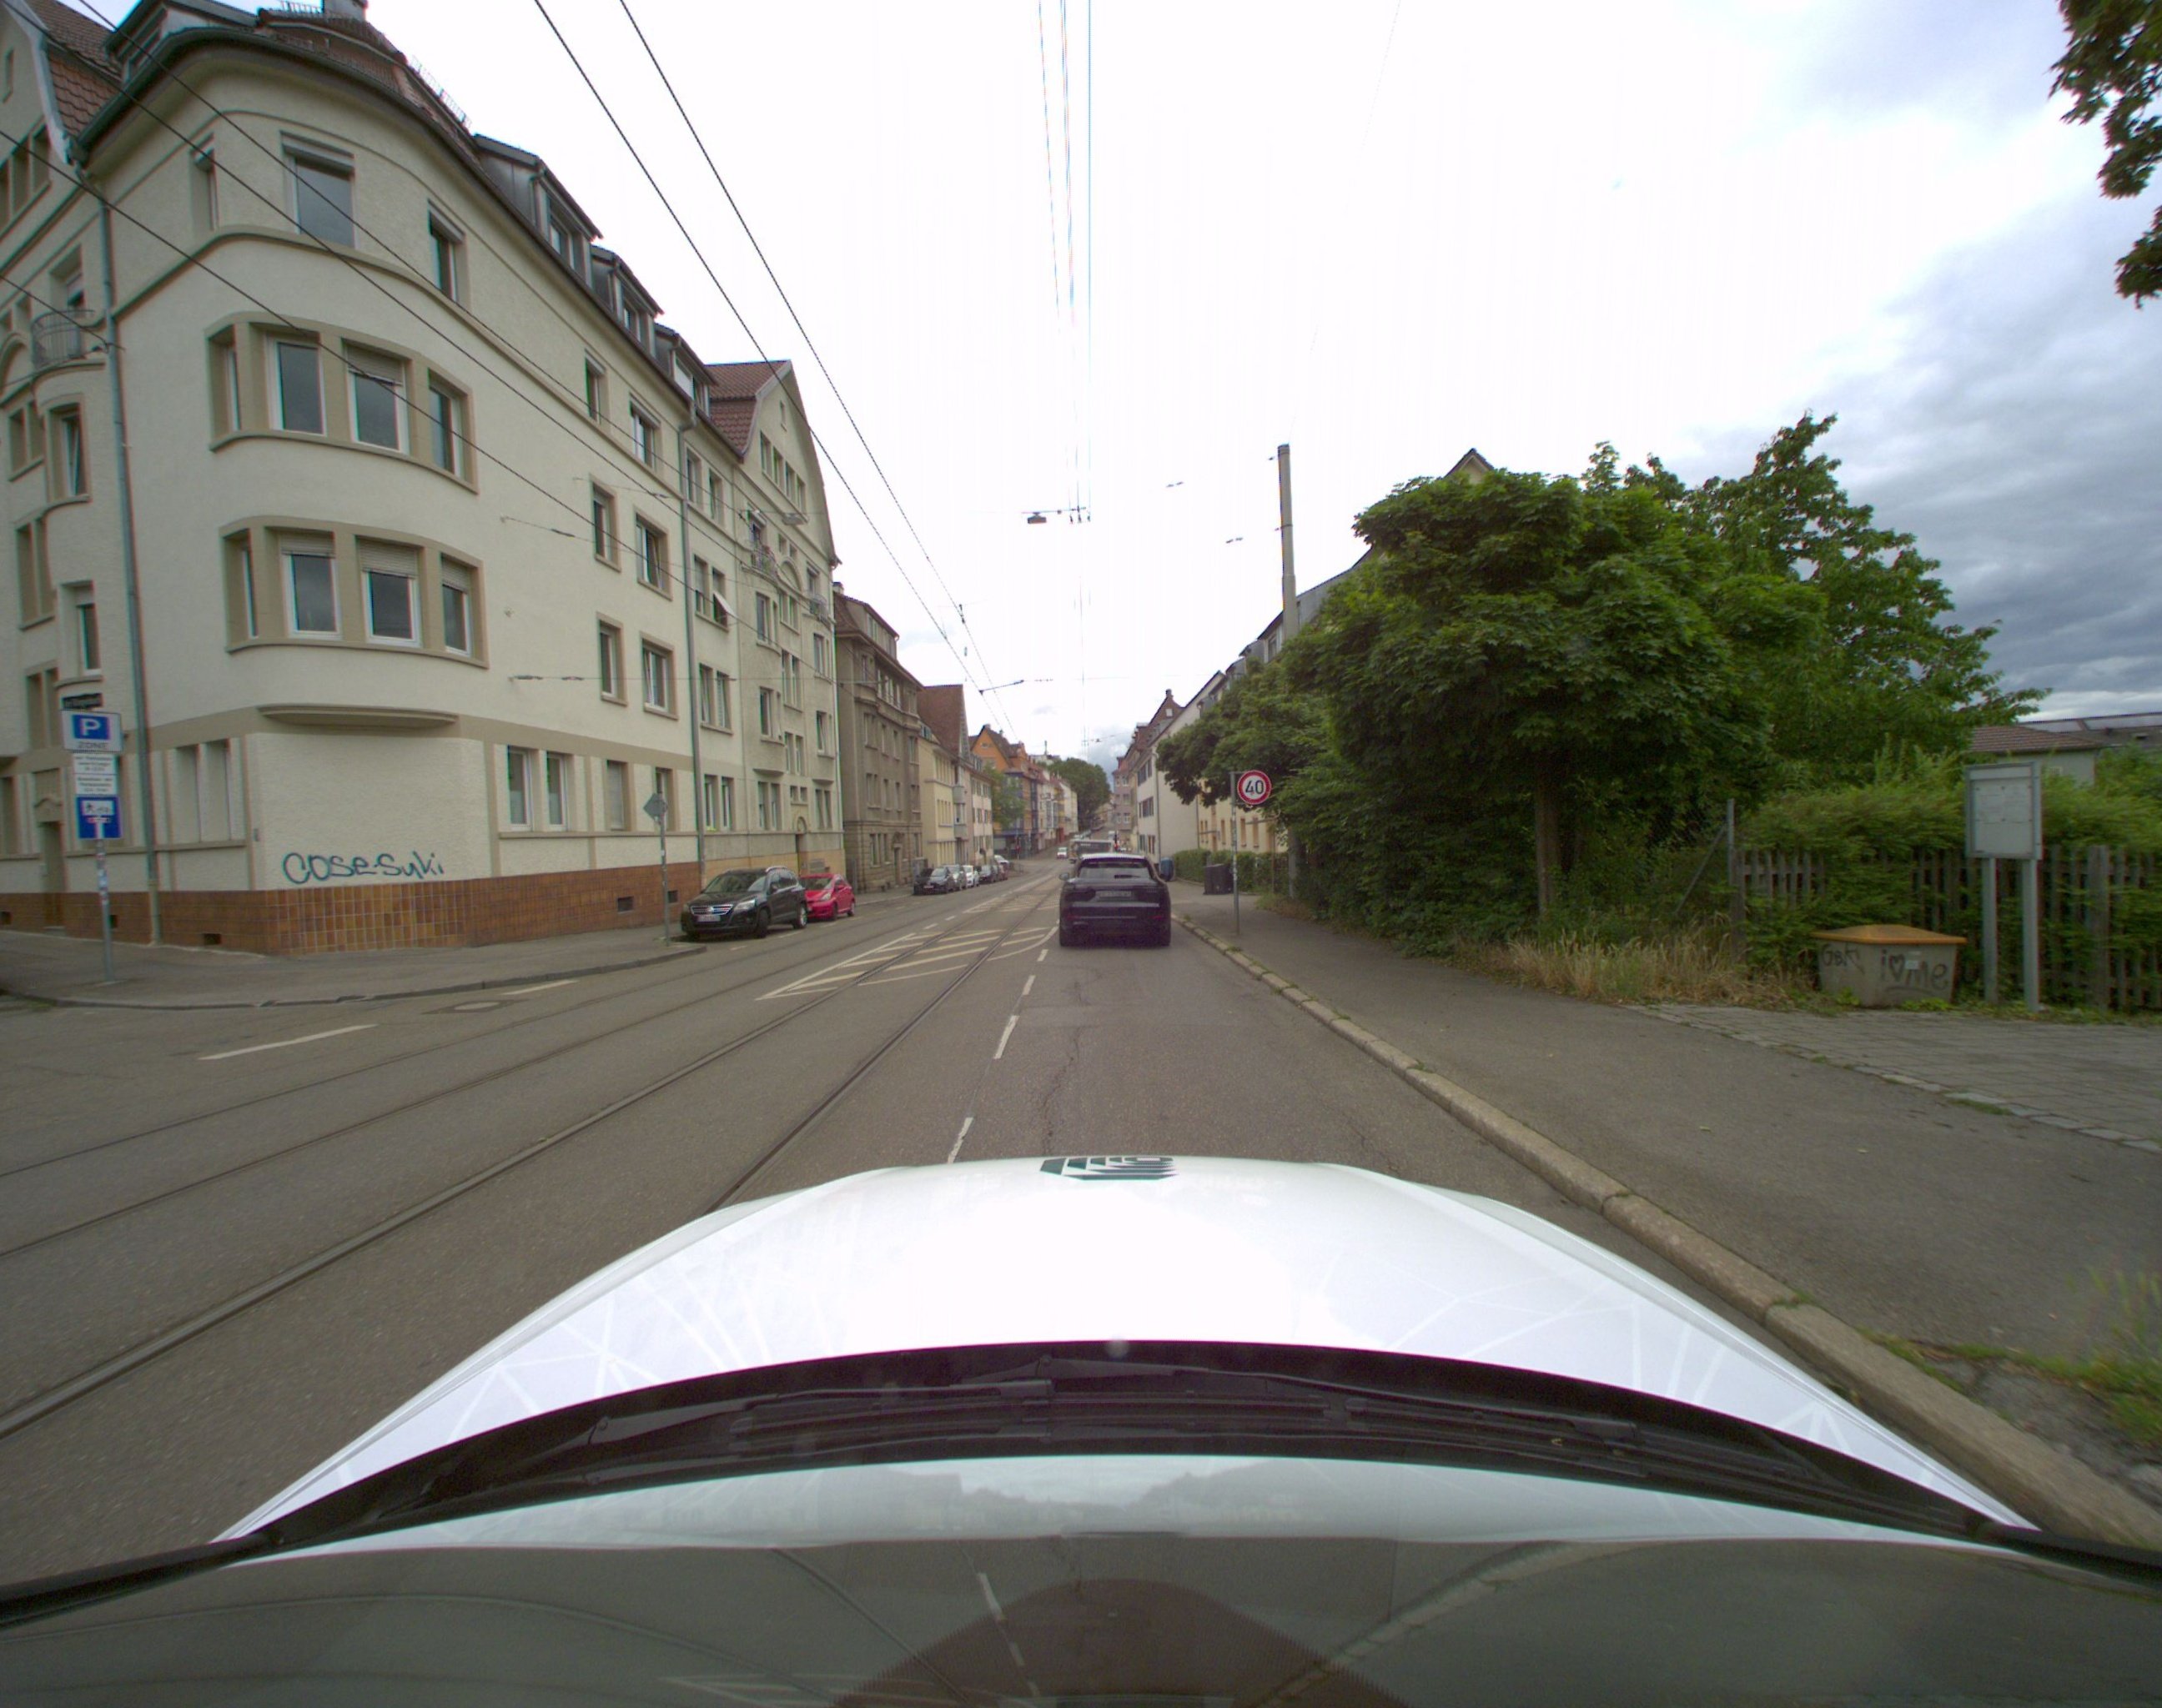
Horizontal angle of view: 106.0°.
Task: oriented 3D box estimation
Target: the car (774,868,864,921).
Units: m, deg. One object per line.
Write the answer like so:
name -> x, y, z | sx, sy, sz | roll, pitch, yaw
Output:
car -> -8.188, 1.236, 25.760 | 1.616, 1.463, 3.744 | -3, -1, -1

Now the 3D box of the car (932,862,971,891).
car -> -7.742, 1.356, 49.100 | 1.616, 1.604, 4.349 | -3, -1, -1

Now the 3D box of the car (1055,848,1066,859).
car -> -3.503, -0.007, 139.583 | 1.745, 1.760, 4.254 | -2, -1, 1

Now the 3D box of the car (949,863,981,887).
car -> -7.824, 1.422, 55.023 | 1.616, 1.463, 3.683 | -3, -1, -1

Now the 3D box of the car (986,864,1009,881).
car -> -7.673, 1.711, 75.147 | 1.616, 1.490, 4.045 | -3, -1, -1

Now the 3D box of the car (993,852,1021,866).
car -> -10.228, 0.740, 112.640 | 1.936, 1.819, 4.170 | -1, -1, -36

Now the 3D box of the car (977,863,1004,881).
car -> -7.685, 1.516, 69.188 | 1.730, 1.410, 4.000 | -2, -1, 1

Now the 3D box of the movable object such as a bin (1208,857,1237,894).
movable object such as a bin -> 4.916, 0.736, 28.253 | 0.790, 1.218, 0.788 | -2, -1, -3

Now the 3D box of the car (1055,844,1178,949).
car -> 0.611, 0.730, 15.583 | 1.987, 1.676, 3.999 | -2, -1, 0

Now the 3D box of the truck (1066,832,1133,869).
truck -> 2.338, -0.390, 105.079 | 8.482, 4.182, 2.274 | -3, -3, 30

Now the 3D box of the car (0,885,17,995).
car -> -17.683, 1.322, 11.876 | 3.950, 1.571, 1.887 | -2, -1, 26

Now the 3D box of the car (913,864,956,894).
car -> -7.905, 1.347, 44.266 | 1.616, 1.463, 4.031 | -3, -1, -1

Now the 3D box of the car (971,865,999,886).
car -> -7.395, 1.681, 63.264 | 1.616, 1.473, 4.554 | -3, -1, -1

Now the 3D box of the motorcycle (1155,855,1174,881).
motorcycle -> 4.838, 0.798, 47.163 | 0.835, 1.457, 2.553 | -2, -1, 1

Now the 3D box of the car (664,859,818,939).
car -> -8.082, 1.035, 19.860 | 1.862, 1.646, 4.400 | -3, -1, -1

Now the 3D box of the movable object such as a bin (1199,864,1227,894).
movable object such as a bin -> 4.691, 0.886, 29.041 | 0.790, 1.012, 0.788 | -2, -1, -3

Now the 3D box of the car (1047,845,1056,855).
car -> -5.291, -0.772, 148.549 | 1.389, 1.722, 3.359 | -2, -1, 1

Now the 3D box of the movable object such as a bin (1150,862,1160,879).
movable object such as a bin -> 4.917, 1.106, 53.896 | 0.586, 1.080, 0.692 | -2, -1, 2
